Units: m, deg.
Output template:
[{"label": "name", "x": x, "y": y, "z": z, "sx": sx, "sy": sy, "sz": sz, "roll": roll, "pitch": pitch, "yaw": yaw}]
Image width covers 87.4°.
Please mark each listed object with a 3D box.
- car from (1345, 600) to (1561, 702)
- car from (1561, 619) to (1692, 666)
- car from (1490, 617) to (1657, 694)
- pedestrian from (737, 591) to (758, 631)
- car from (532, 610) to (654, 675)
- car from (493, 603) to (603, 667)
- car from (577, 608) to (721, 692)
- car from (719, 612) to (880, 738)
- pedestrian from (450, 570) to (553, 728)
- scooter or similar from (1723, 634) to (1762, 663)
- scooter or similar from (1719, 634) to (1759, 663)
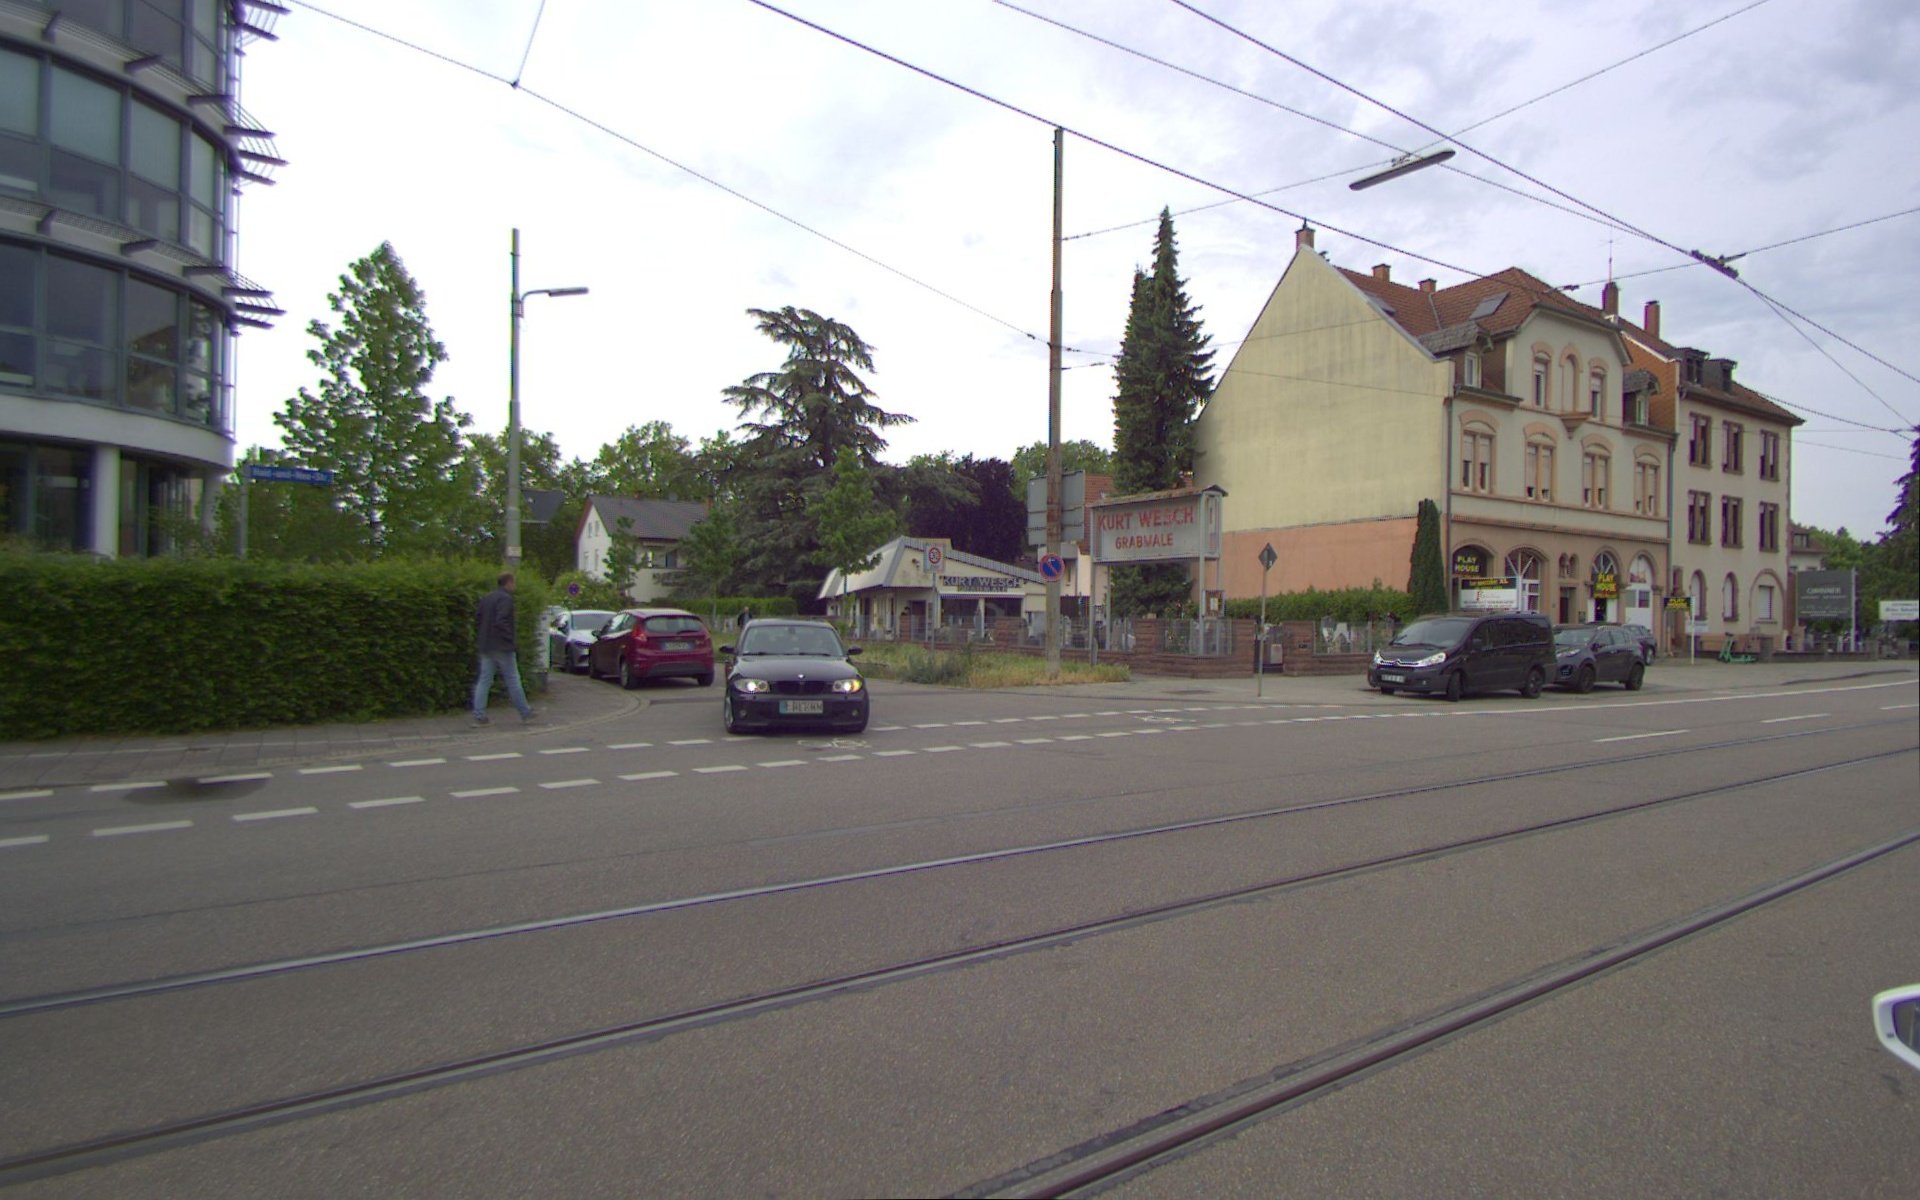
[{"label": "car", "x": 11.211, "y": 1.115, "z": 22.711, "sx": 5.129, "sy": 2.040, "sz": 1.975, "roll": 2, "pitch": 1, "yaw": -33}, {"label": "car", "x": 23.339, "y": 1.477, "z": 35.143, "sx": 4.848, "sy": 1.512, "sz": 1.983, "roll": 2, "pitch": -1, "yaw": -32}, {"label": "car", "x": 16.088, "y": 1.370, "z": 26.271, "sx": 4.487, "sy": 1.773, "sz": 2.024, "roll": 1, "pitch": 1, "yaw": -34}, {"label": "pedestrian", "x": -9.569, "y": 0.498, "z": 45.164, "sx": 0.752, "sy": 1.798, "sz": 0.631, "roll": 2, "pitch": 0, "yaw": -28}, {"label": "car", "x": -8.767, "y": 0.949, "z": 23.798, "sx": 1.761, "sy": 1.367, "sz": 4.009, "roll": 2, "pitch": -1, "yaw": -35}, {"label": "car", "x": -11.786, "y": 0.940, "z": 28.597, "sx": 1.981, "sy": 1.673, "sz": 3.959, "roll": 2, "pitch": -1, "yaw": -36}, {"label": "car", "x": -6.231, "y": 0.894, "z": 19.860, "sx": 1.707, "sy": 1.441, "sz": 3.983, "roll": -1, "pitch": 0, "yaw": -33}, {"label": "car", "x": -2.328, "y": 0.907, "z": 13.682, "sx": 1.758, "sy": 1.387, "sz": 4.100, "roll": 2, "pitch": 0, "yaw": -15}, {"label": "pedestrian", "x": -5.631, "y": 0.582, "z": 12.324, "sx": 1.047, "sy": 1.849, "sz": 0.800, "roll": 2, "pitch": 0, "yaw": -30}, {"label": "scooter or similar", "x": 31.674, "y": 1.944, "z": 40.673, "sx": 1.157, "sy": 1.116, "sz": 0.527, "roll": 1, "pitch": 0, "yaw": 30}, {"label": "scooter or similar", "x": 31.075, "y": 1.924, "z": 40.091, "sx": 1.157, "sy": 1.116, "sz": 0.527, "roll": 1, "pitch": 0, "yaw": 30}]
